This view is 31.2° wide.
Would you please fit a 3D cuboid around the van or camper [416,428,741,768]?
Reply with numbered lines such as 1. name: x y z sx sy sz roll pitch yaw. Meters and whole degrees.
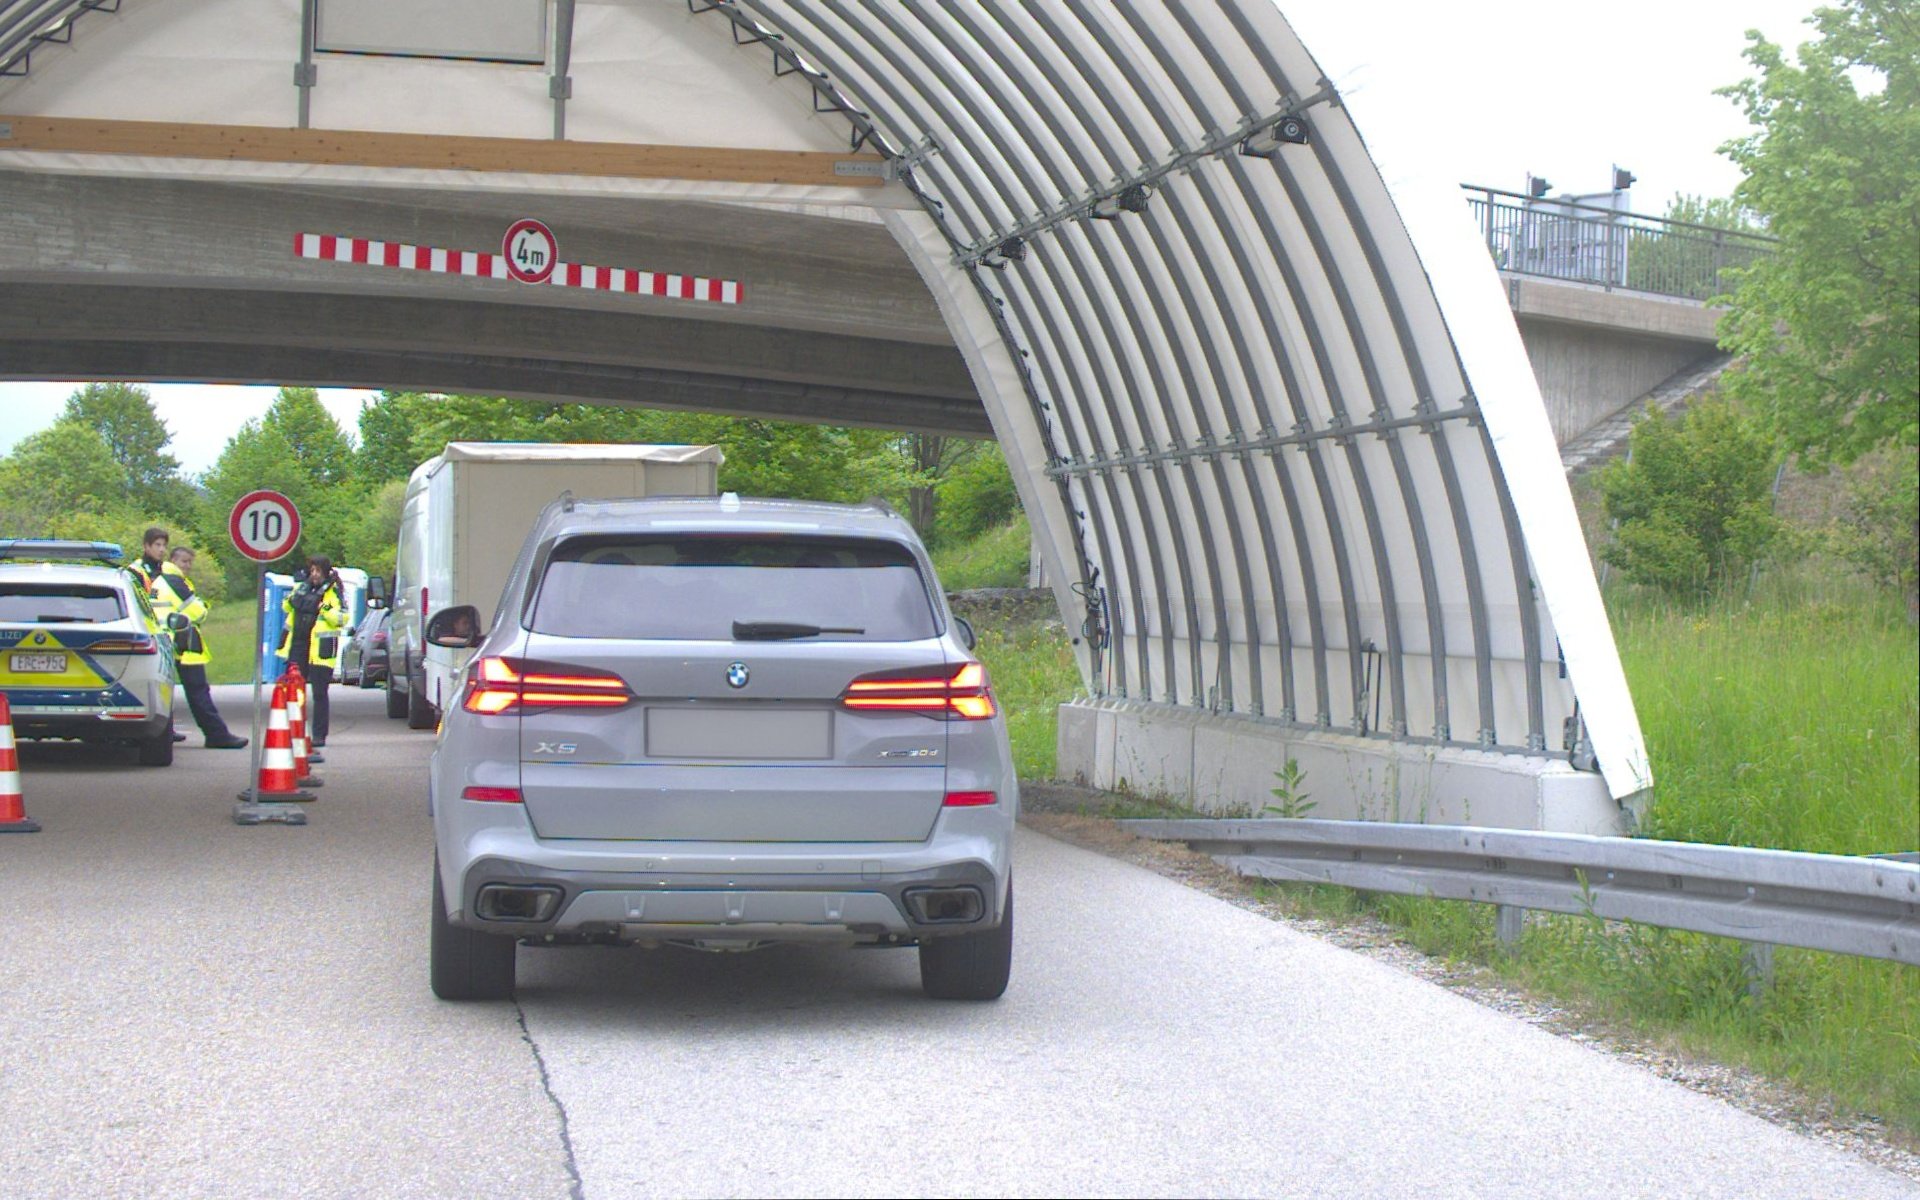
1. van or camper: -3.376 -0.033 29.139 2.229 2.544 6.612 0 0 -11

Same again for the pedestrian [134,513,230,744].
1. pedestrian: -6.540 0.231 28.876 0.749 1.912 0.763 0 0 -15

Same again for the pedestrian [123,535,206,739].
1. pedestrian: -6.901 0.316 29.846 0.609 1.748 0.666 0 0 -6

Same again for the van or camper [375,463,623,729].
1. van or camper: -4.834 -0.052 35.405 2.103 2.510 5.553 0 0 -12

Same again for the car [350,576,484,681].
1. car: -9.248 0.457 58.340 1.993 1.716 3.897 0 0 -13

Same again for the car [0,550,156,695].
1. car: -14.097 0.306 48.962 4.807 2.007 1.840 0 0 7

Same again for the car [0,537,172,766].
1. car: -7.143 0.361 26.691 1.877 1.641 4.001 0 0 -14

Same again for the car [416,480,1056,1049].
1. car: -1.001 0.495 12.761 1.993 1.759 4.001 0 0 -9

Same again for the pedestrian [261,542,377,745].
1. pedestrian: -5.528 0.365 29.642 0.754 1.716 0.782 0 0 -30
